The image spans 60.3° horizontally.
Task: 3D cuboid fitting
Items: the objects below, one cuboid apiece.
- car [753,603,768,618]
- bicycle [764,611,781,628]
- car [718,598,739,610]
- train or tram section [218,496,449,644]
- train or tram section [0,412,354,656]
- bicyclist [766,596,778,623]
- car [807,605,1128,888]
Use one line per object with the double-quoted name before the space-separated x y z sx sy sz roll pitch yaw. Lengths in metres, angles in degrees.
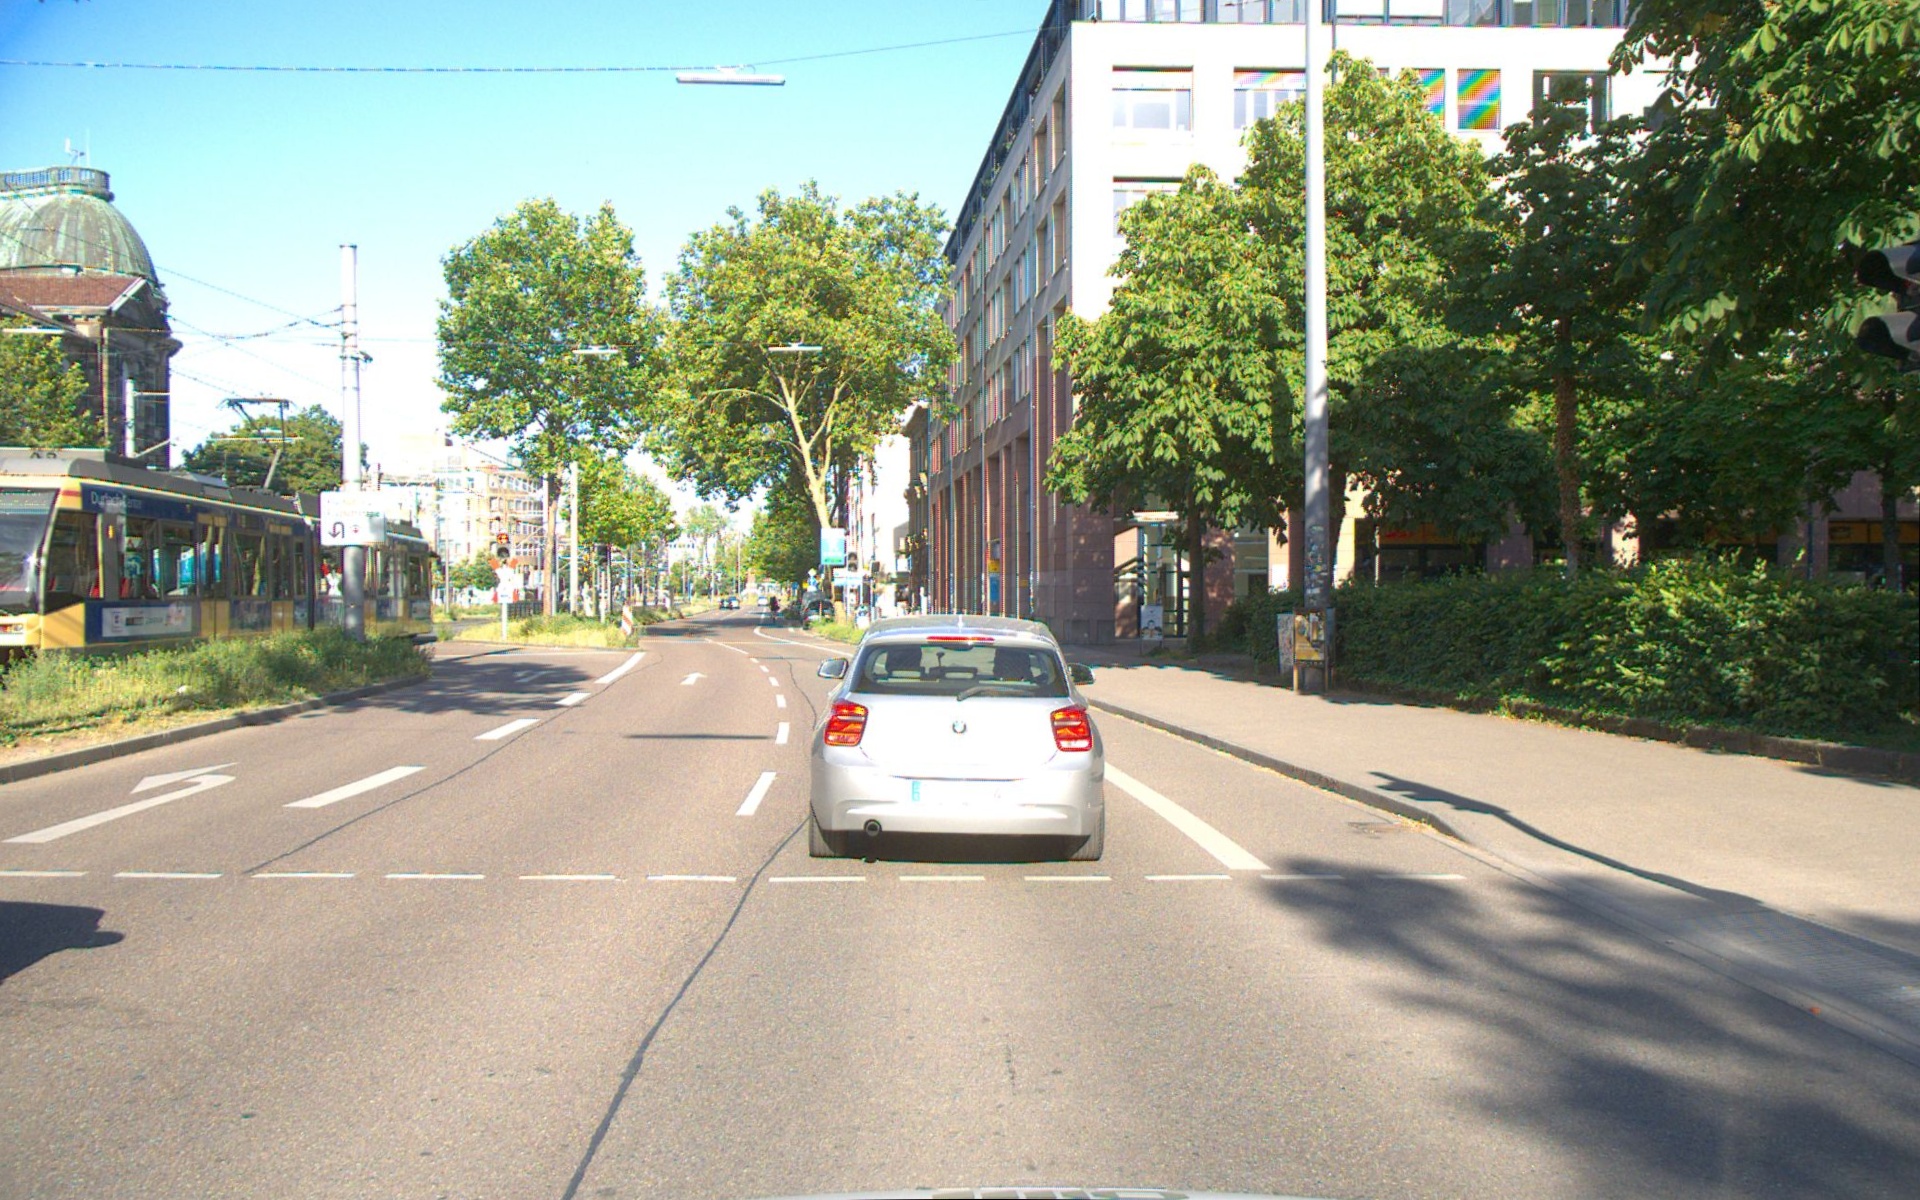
"car" -30.299 1.609 251.331 1.953 2.049 3.998 2 -1 -2
"bicycle" -12.062 1.279 106.319 0.814 1.059 1.875 0 0 3
"car" -29.452 0.526 210.476 1.952 1.512 4.000 0 0 0
"train or tram section" -16.481 -0.595 44.747 2.860 3.317 13.088 2 -1 -8
"train or tram section" -14.618 -0.811 30.389 2.859 3.317 15.867 2 -1 -7
"bicyclist" -12.063 0.601 106.279 0.644 1.686 0.765 0 0 2
"car" 0.076 0.796 10.845 1.694 1.415 3.840 2 1 1
